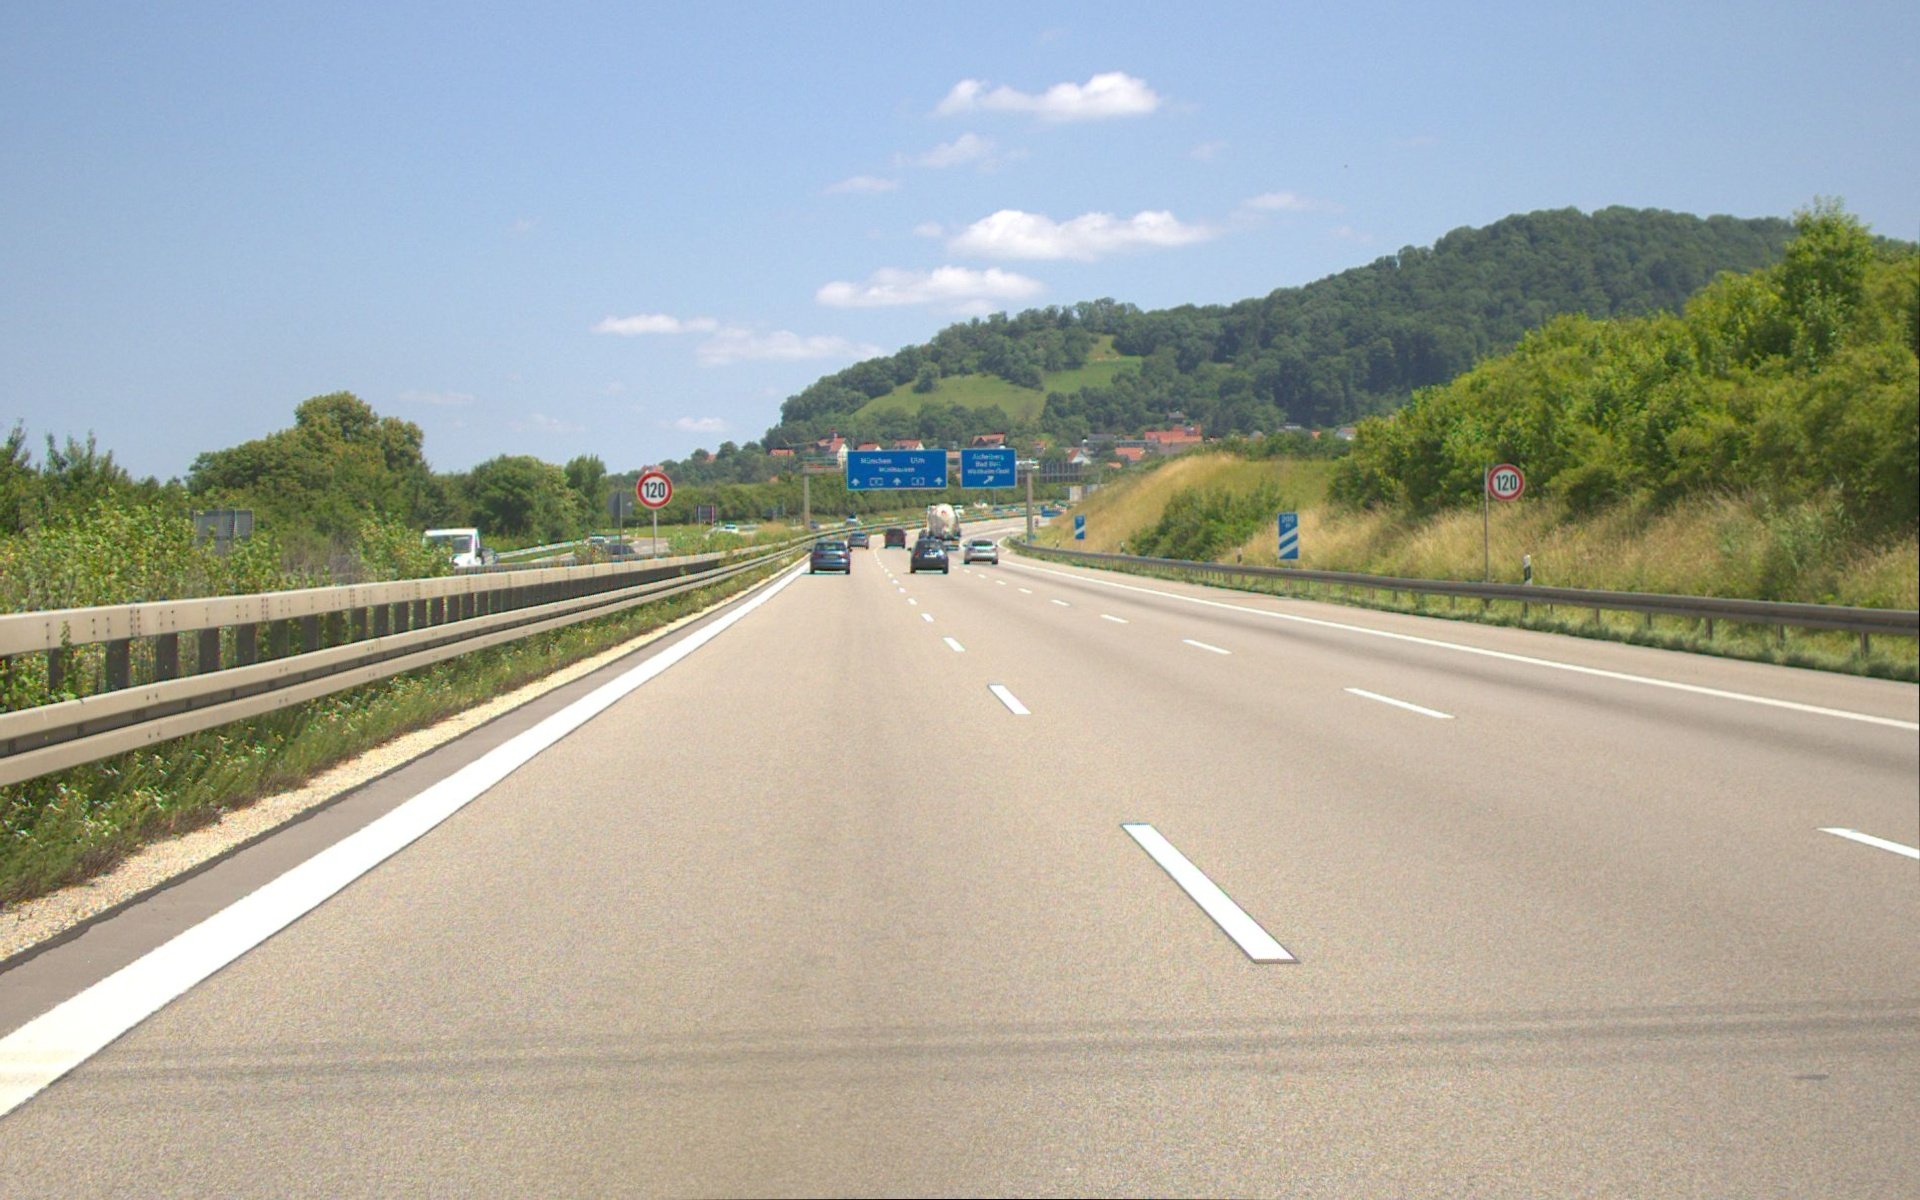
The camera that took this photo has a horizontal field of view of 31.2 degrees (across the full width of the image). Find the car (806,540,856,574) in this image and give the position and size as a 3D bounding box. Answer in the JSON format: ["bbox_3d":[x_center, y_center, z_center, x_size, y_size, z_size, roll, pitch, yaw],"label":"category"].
[{"bbox_3d":[-5.358,-1.788,143.178,1.993,1.384,4.000,1,0,-1],"label":"car"}]

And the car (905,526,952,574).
[{"bbox_3d":[-1.376,-2.145,149.129,1.993,2.007,4.000,1,0,-1],"label":"car"}]

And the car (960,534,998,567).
[{"bbox_3d":[1.052,-2.772,192.957,1.993,1.812,4.000,-1,1,-1],"label":"car"}]

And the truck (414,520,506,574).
[{"bbox_3d":[-17.663,-1.861,121.781,2.429,1.831,5.727,1,0,0],"label":"truck"}]
